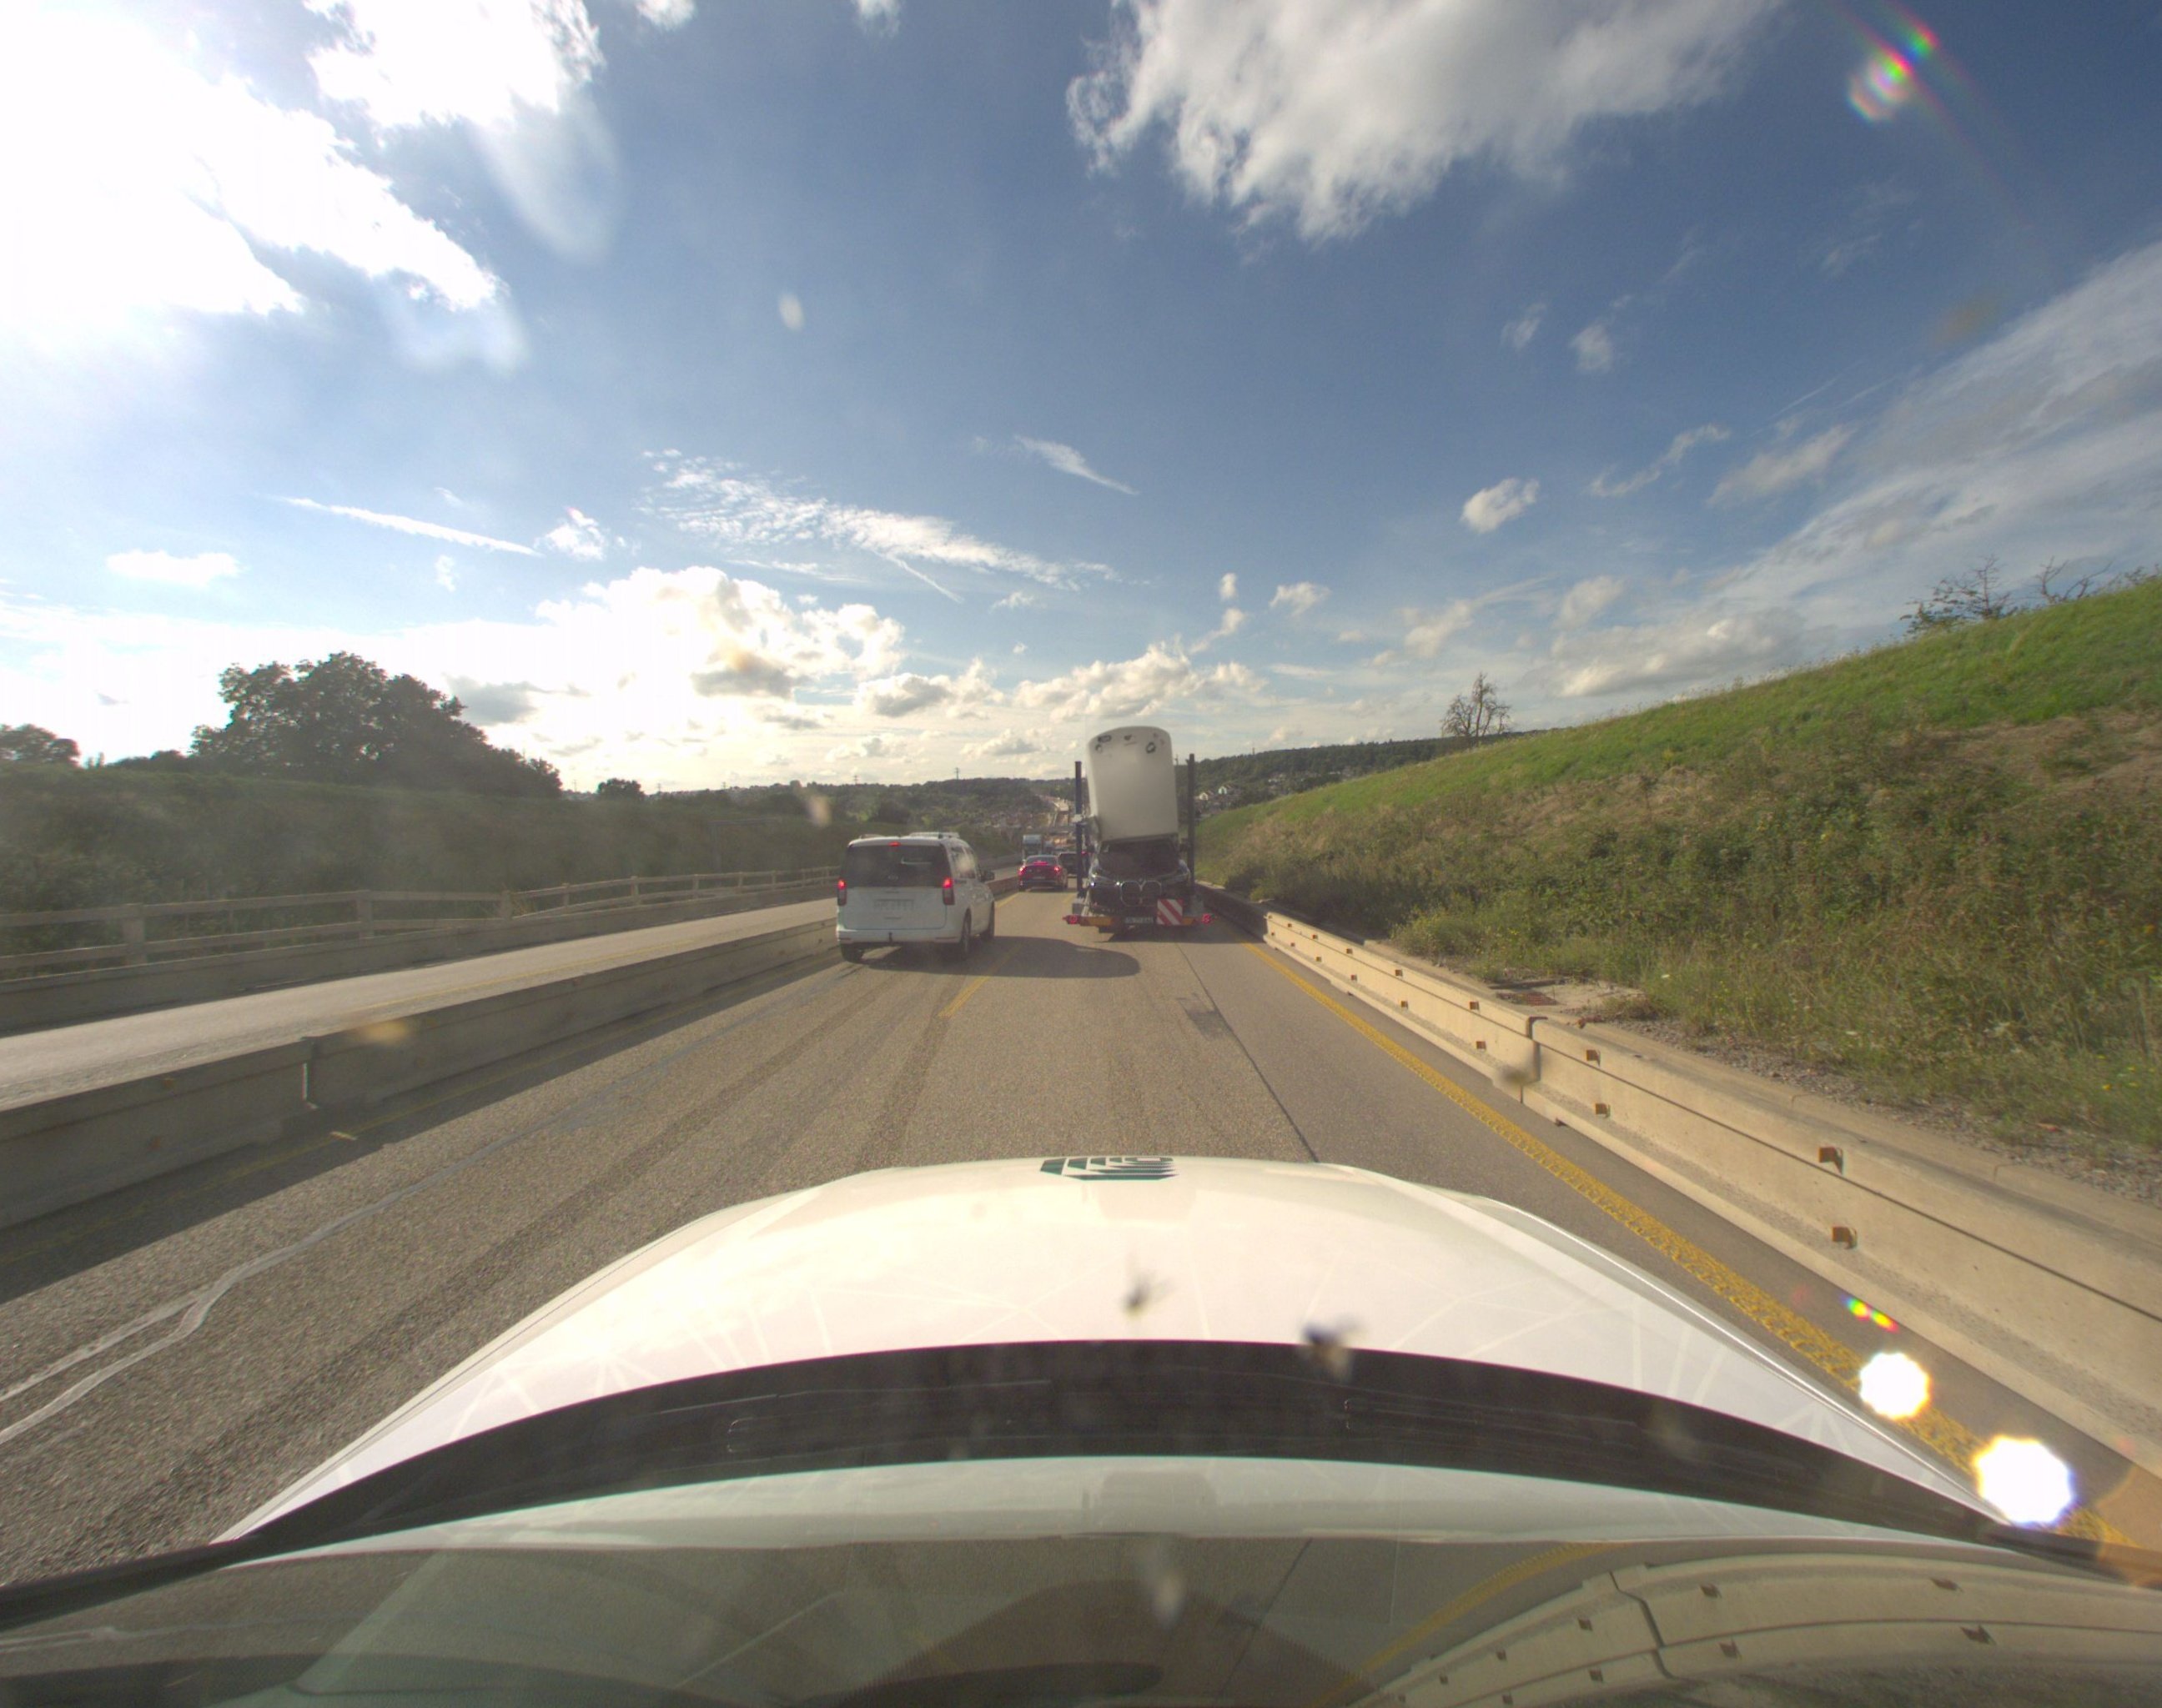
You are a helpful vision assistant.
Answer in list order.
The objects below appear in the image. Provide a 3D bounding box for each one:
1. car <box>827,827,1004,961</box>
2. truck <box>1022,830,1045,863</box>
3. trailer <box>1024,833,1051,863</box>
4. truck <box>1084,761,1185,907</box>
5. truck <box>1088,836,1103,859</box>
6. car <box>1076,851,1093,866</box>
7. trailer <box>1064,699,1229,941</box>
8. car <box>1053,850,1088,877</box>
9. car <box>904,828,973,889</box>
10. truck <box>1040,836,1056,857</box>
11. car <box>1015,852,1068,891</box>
[{"bbox_3d":[-2.478,0.525,13.341,1.816,1.823,4.459,0,1,2],"label":"car"},{"bbox_3d":[-6.330,-0.983,109.305,2.605,4.153,5.783,-1,0,2],"label":"truck"},{"bbox_3d":[-6.077,-0.886,116.141,2.605,3.953,13.879,-1,0,2],"label":"trailer"},{"bbox_3d":[1.554,-0.568,25.272,2.668,3.922,6.029,-1,0,1],"label":"truck"},{"bbox_3d":[3.009,-1.293,167.468,2.853,4.570,11.660,-1,0,1],"label":"truck"},{"bbox_3d":[0.389,0.463,87.444,1.790,1.596,4.743,-1,0,1],"label":"car"},{"bbox_3d":[1.330,-0.588,19.463,2.697,4.029,11.425,-1,0,2],"label":"trailer"},{"bbox_3d":[-0.633,0.593,52.039,1.986,1.625,4.752,0,0,2],"label":"car"},{"bbox_3d":[-7.336,0.214,42.567,2.101,2.835,6.142,-4,0,2],"label":"car"},{"bbox_3d":[-6.824,-1.477,168.930,2.630,4.099,10.817,-1,0,0],"label":"truck"},{"bbox_3d":[-1.589,0.685,34.269,1.816,1.492,4.686,0,1,2],"label":"car"}]
